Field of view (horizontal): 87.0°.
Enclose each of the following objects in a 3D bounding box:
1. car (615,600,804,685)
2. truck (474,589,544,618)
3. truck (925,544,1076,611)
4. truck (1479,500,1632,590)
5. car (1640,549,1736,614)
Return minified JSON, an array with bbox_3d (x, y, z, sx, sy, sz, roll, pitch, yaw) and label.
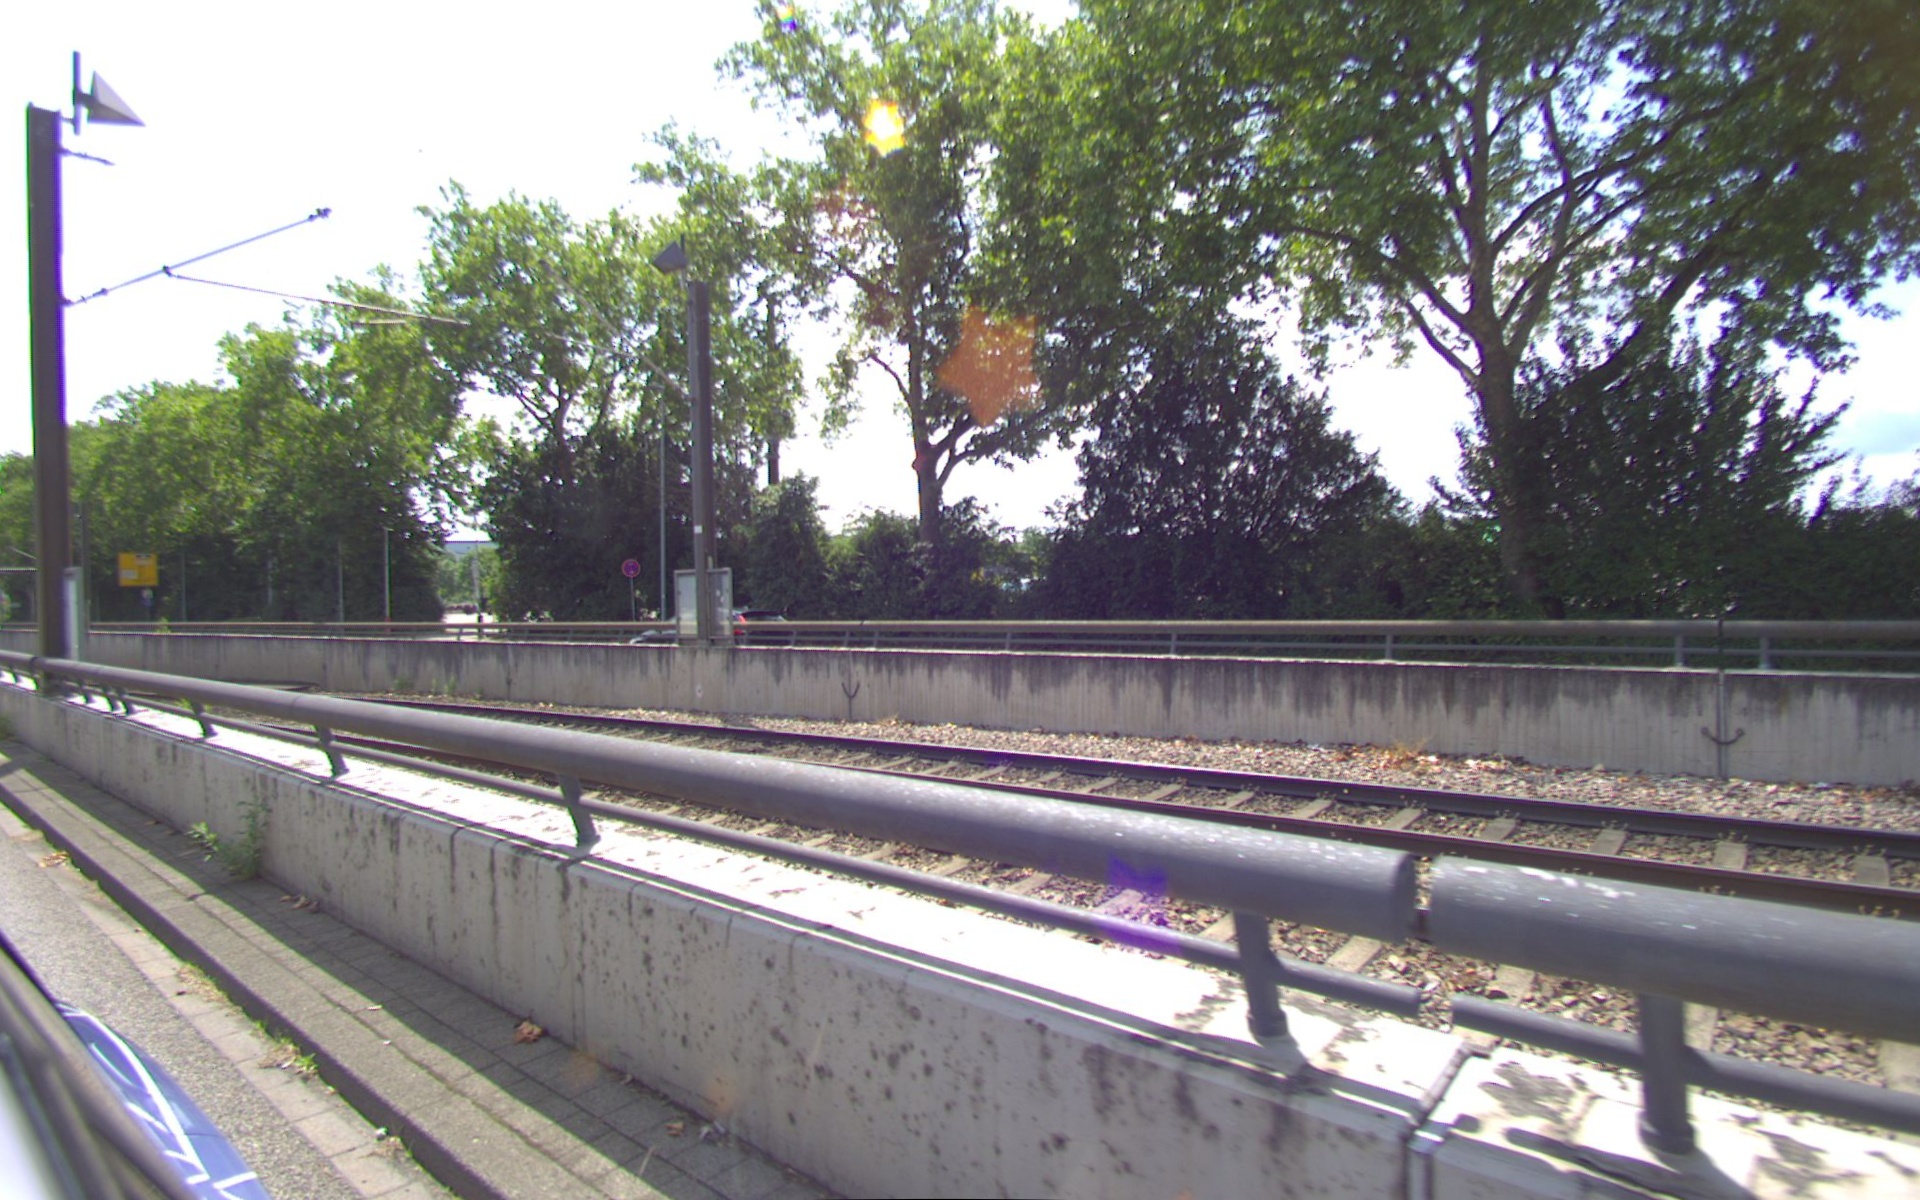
[{"bbox_3d":[-5.333,0.850,21.267,4.294,1.609,1.650,-1,0,40],"label":"car"},{"bbox_3d":[-57.291,0.449,128.684,7.599,3.689,3.067,0,0,-11],"label":"truck"},{"bbox_3d":[2.983,-1.388,67.849,2.747,4.104,12.654,-1,0,41],"label":"truck"},{"bbox_3d":[21.857,-1.827,36.867,2.707,2.814,8.732,-1,0,45],"label":"truck"},{"bbox_3d":[21.666,-0.562,30.053,1.999,1.785,3.946,-1,1,40],"label":"car"}]
